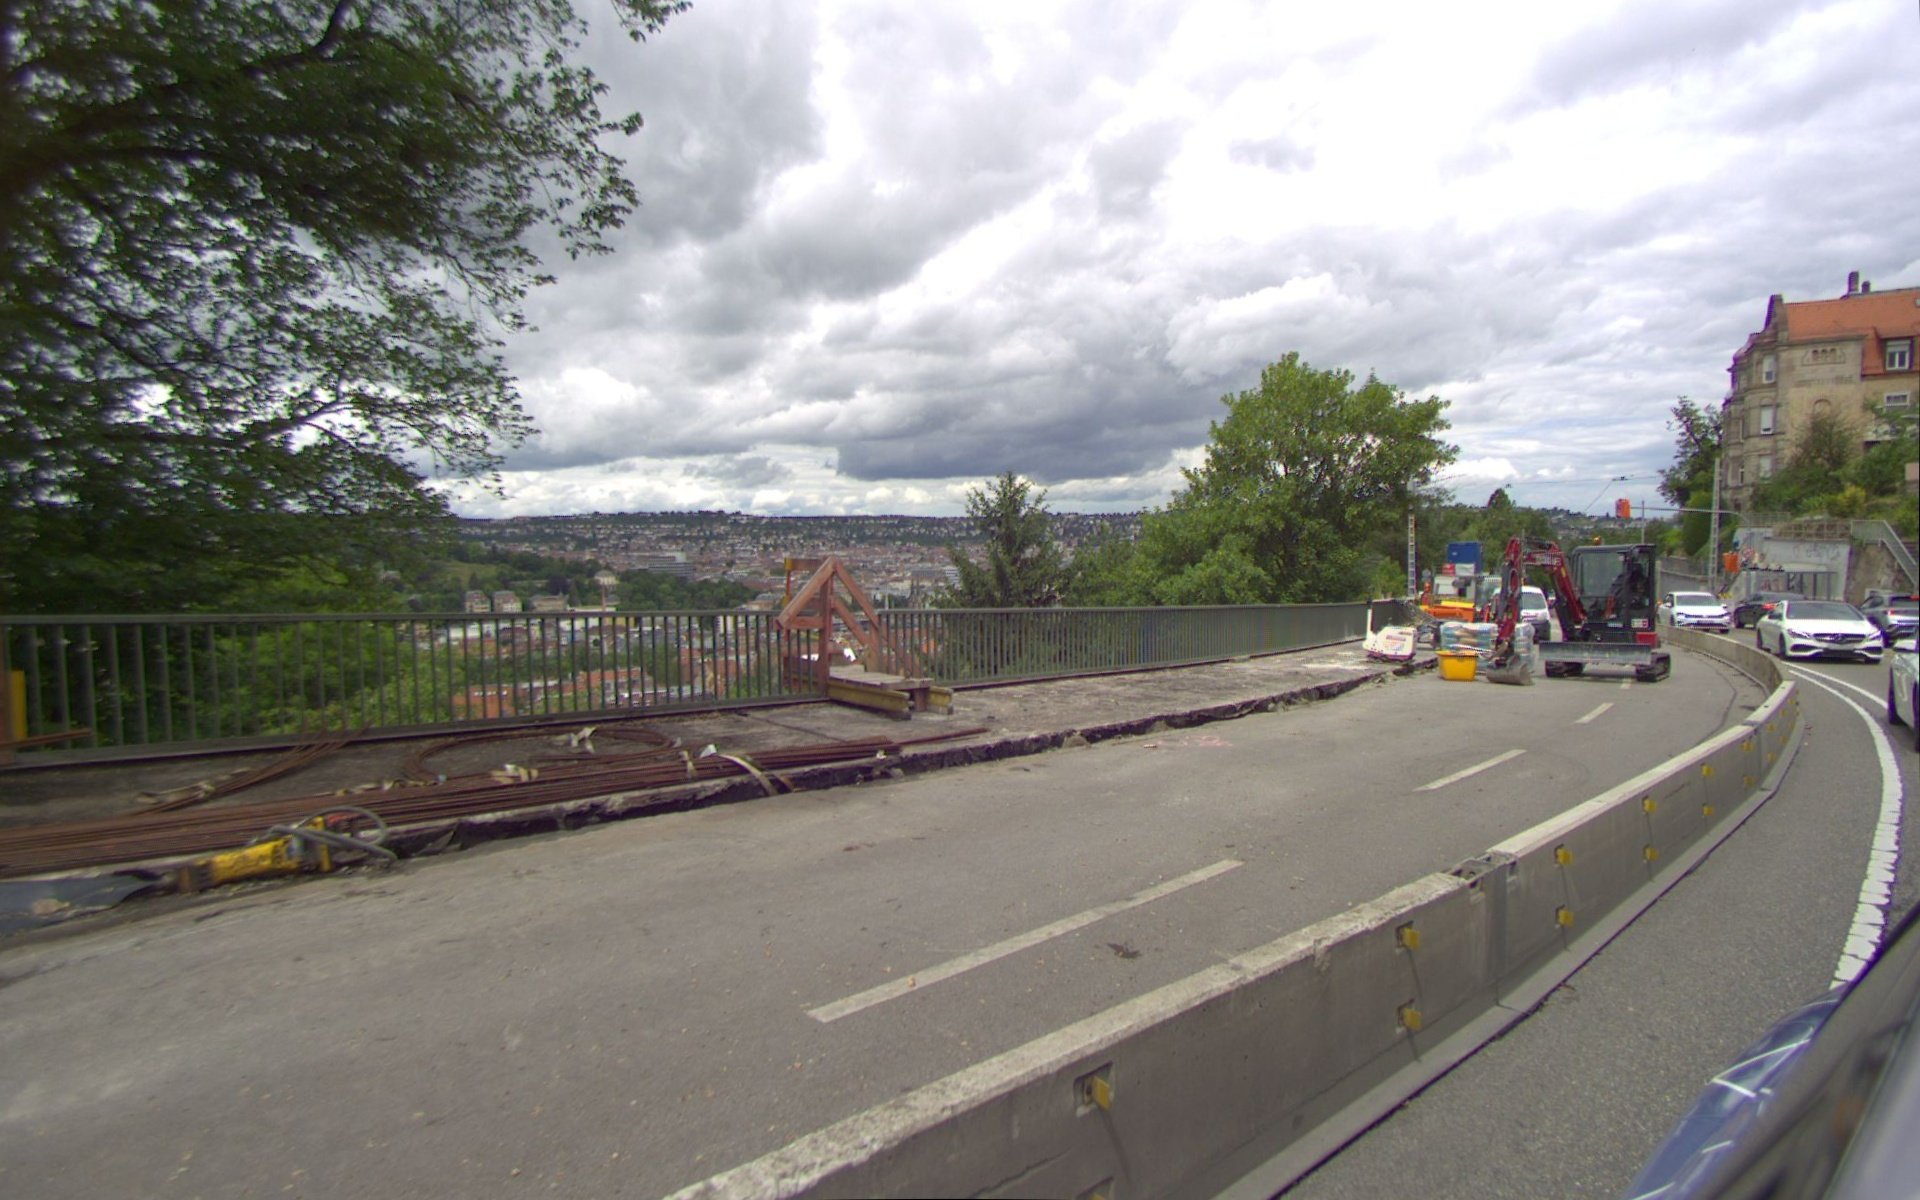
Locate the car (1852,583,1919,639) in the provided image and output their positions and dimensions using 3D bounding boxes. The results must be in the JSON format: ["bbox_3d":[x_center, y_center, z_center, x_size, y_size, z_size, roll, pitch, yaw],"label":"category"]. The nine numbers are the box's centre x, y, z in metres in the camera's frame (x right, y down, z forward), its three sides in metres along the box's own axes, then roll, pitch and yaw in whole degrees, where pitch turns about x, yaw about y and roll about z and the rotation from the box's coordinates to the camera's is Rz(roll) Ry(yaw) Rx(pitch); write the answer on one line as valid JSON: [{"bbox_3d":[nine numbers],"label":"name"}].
[{"bbox_3d":[27.692,0.298,29.375,1.756,1.537,3.986,0,0,28],"label":"car"}]

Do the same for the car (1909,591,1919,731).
[{"bbox_3d":[11.071,0.671,10.371,1.786,1.499,4.181,1,1,41],"label":"car"}]

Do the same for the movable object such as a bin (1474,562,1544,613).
[{"bbox_3d":[35.459,-0.793,65.637,2.785,3.109,7.772,0,0,20],"label":"movable object such as a bin"}]

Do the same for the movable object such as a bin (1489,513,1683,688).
[{"bbox_3d":[11.356,-0.020,18.198,2.210,2.696,4.871,0,0,41],"label":"movable object such as a bin"}]

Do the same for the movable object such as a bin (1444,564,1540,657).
[{"bbox_3d":[12.483,0.209,23.628,1.694,1.967,4.117,0,0,32],"label":"movable object such as a bin"}]

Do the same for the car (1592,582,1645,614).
[{"bbox_3d":[35.726,-0.143,55.004,1.782,1.528,3.966,3,3,25],"label":"car"}]

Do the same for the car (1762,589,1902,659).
[{"bbox_3d":[20.692,0.496,24.206,1.779,1.499,4.199,1,1,30],"label":"car"}]

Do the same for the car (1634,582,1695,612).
[{"bbox_3d":[38.955,-0.167,56.065,1.752,1.587,4.200,0,0,21],"label":"car"}]

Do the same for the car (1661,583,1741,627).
[{"bbox_3d":[28.744,0.170,39.363,1.776,1.570,4.205,1,1,26],"label":"car"}]

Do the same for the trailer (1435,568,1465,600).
[{"bbox_3d":[41.920,-1.333,86.550,2.094,2.581,5.070,3,2,27],"label":"trailer"}]

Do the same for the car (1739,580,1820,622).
[{"bbox_3d":[32.720,0.009,40.518,1.757,1.587,4.187,0,0,28],"label":"car"}]

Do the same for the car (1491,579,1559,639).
[{"bbox_3d":[18.425,0.245,33.110,1.822,1.802,4.226,0,1,28],"label":"car"}]

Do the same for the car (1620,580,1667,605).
[{"bbox_3d":[43.914,-0.521,65.087,1.782,1.500,4.292,-2,0,25],"label":"car"}]

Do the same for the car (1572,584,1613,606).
[{"bbox_3d":[48.058,-0.400,76.987,1.780,1.464,4.333,1,2,21],"label":"car"}]
